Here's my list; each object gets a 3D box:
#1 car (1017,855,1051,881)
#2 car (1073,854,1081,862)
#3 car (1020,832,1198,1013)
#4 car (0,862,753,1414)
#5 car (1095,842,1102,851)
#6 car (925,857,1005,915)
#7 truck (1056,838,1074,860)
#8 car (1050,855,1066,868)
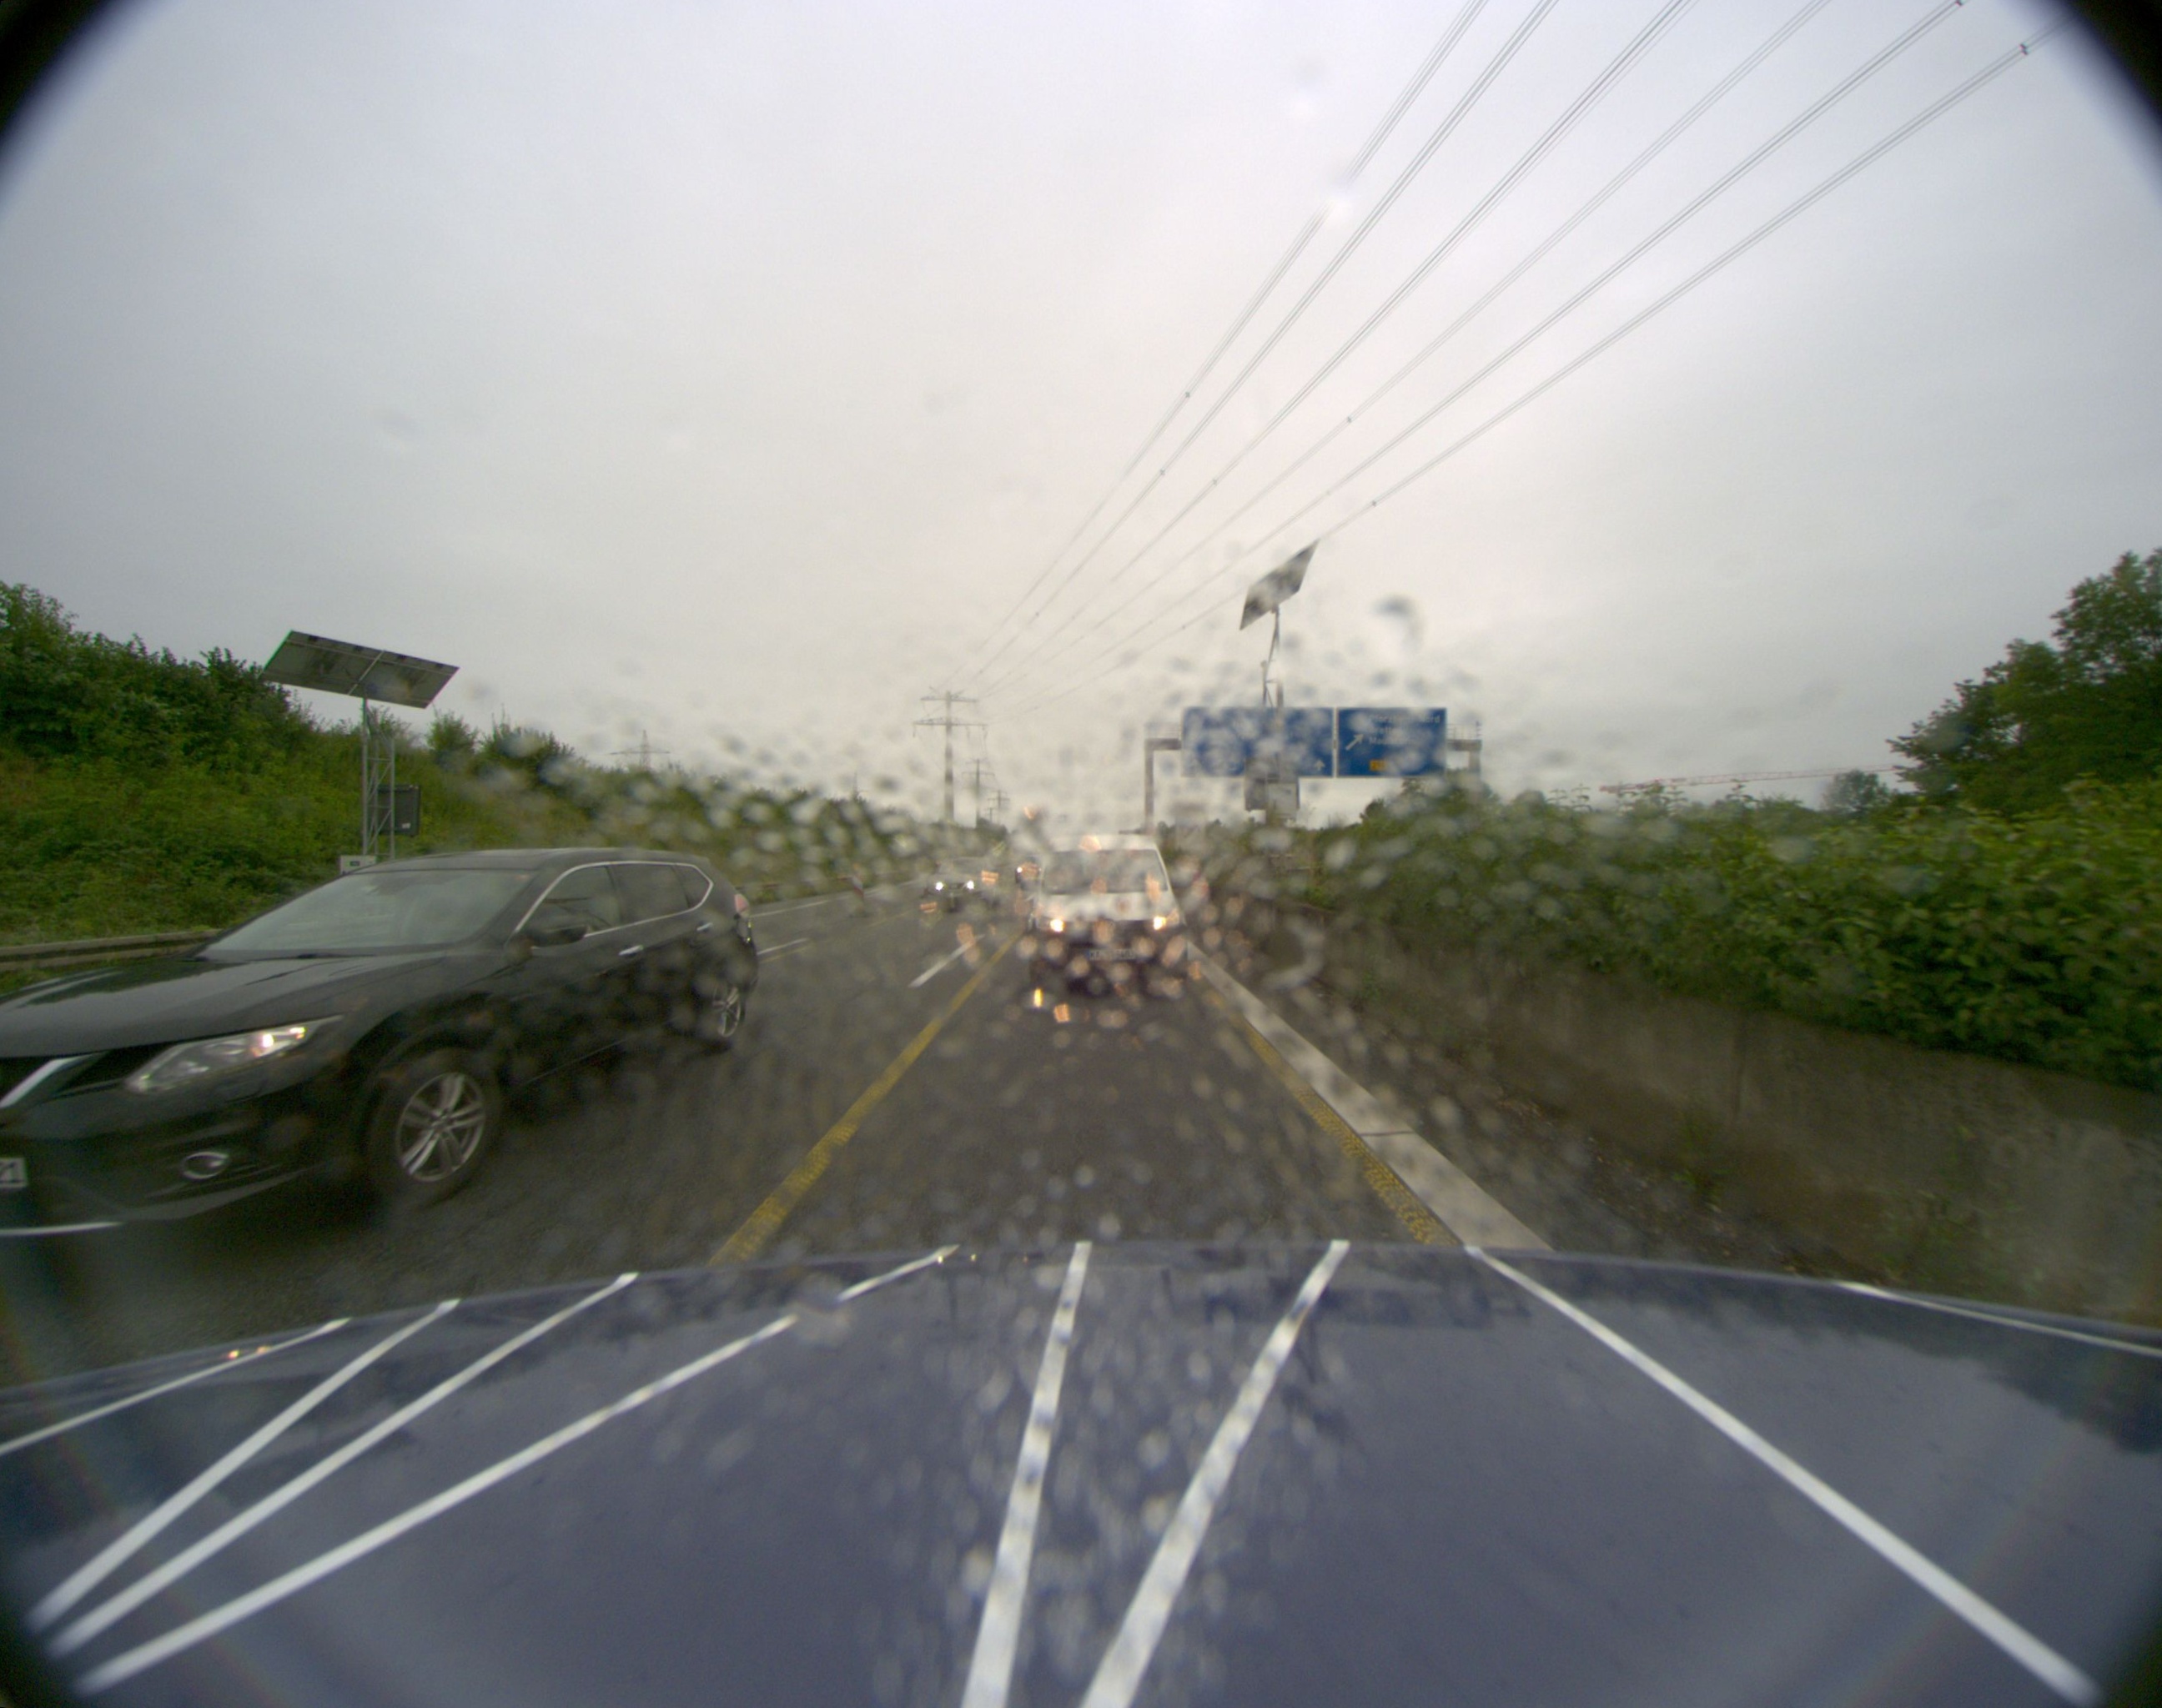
[{"bbox_3d":[-2.756,0.802,45.587,1.804,1.432,4.149,-2,0,-1],"label":"car"},{"bbox_3d":[-1.002,1.027,187.410,1.784,2.002,4.000,-1,0,1],"label":"car"},{"bbox_3d":[0.307,0.686,9.903,1.768,1.803,4.345,-2,0,1],"label":"car"},{"bbox_3d":[-3.715,0.927,4.496,1.689,1.649,4.280,-2,0,-1],"label":"car"},{"bbox_3d":[4.315,-1.856,186.869,1.785,2.002,4.000,-2,1,1],"label":"car"},{"bbox_3d":[-3.425,0.903,23.213,1.804,1.523,4.149,-2,0,-1],"label":"car"},{"bbox_3d":[-2.951,-1.006,143.617,2.875,4.007,8.308,-1,0,1],"label":"truck"},{"bbox_3d":[-2.802,0.901,93.229,1.804,1.598,4.149,-2,0,-1],"label":"car"}]
